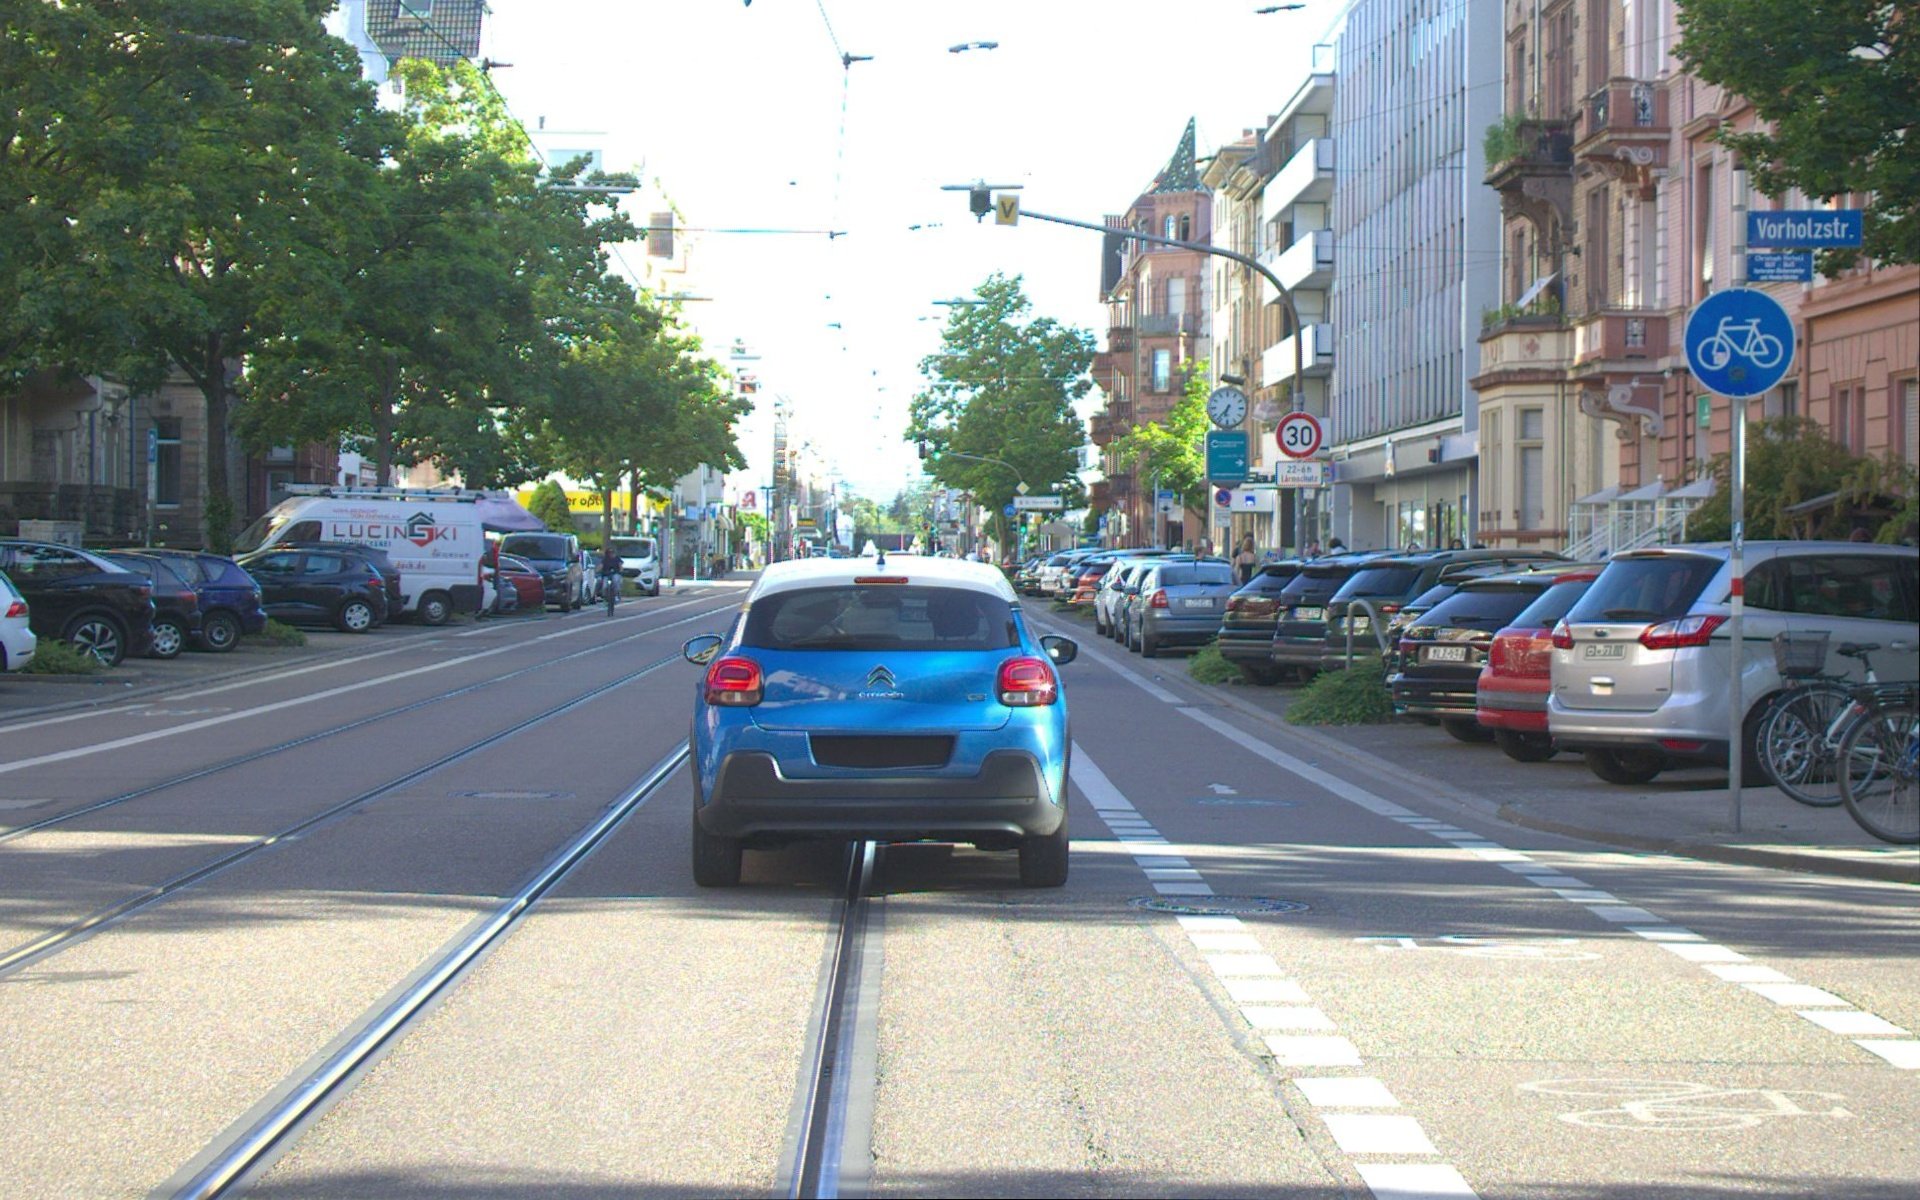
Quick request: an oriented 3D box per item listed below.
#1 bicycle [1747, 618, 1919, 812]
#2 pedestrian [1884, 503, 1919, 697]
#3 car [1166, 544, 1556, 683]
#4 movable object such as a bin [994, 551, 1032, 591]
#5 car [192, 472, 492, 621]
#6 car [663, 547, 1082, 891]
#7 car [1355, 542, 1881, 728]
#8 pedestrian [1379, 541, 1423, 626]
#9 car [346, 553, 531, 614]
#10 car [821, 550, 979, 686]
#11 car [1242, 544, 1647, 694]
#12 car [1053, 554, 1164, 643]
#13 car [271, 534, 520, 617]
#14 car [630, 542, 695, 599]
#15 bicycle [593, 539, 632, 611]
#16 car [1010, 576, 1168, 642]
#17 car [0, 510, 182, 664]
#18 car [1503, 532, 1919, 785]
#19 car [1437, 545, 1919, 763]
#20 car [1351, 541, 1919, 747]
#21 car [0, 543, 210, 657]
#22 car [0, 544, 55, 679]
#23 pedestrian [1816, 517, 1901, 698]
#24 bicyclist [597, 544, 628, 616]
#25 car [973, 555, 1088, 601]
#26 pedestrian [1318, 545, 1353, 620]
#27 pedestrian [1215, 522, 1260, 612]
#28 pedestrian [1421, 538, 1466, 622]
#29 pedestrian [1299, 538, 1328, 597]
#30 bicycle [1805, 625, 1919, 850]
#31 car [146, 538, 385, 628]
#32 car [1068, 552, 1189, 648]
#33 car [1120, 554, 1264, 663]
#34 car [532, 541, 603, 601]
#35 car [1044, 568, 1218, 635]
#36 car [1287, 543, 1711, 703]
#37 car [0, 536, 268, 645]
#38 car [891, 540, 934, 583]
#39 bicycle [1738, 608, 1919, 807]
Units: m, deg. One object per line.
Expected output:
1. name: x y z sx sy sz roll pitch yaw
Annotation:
1. bicycle: 5.334 0.664 19.690 1.556 1.075 0.307 1 0 6
2. pedestrian: 8.976 0.002 31.917 0.518 1.772 0.863 1 0 -1
3. car: 4.904 0.170 42.058 4.302 1.590 1.983 1 0 -25
4. movable object such as a bin: 2.049 -1.126 132.398 1.394 1.478 1.655 1 0 -1
5. car: -11.954 -1.013 66.619 5.370 2.739 1.806 1 0 -30
6. car: -0.406 0.494 16.524 1.762 1.436 3.557 1 0 -1
7. car: 6.029 0.324 31.494 4.317 1.590 2.046 1 0 -25
8. pedestrian: 8.451 -0.314 65.908 0.712 1.601 0.654 -2 0 -1
9. car: -11.679 -0.365 77.067 3.796 1.261 1.516 1 0 -26
10. car: -0.733 0.200 43.484 1.873 1.590 4.000 1 0 0
11. car: 5.459 0.213 38.769 3.986 1.590 2.088 1 0 -25
12. car: 2.786 -0.049 65.340 1.873 1.590 4.000 1 0 0
13. car: -11.651 -0.502 71.096 4.755 1.612 1.712 1 1 -33
14. car: -10.013 -0.988 115.916 1.831 1.841 4.214 1 0 -1
15. bicycle: -8.204 -0.592 81.208 0.680 1.673 2.097 1 0 -1
16. car: 3.204 0.232 85.259 3.441 1.550 1.824 1 1 -32
17. car: -11.718 -0.174 40.910 4.352 1.777 1.996 1 1 -33
18. car: 6.055 0.390 23.354 4.350 1.590 1.854 1 0 -25
19. car: 5.839 0.403 25.968 3.986 1.531 1.919 1 0 -25
20. car: 5.715 0.366 28.516 4.433 1.590 2.089 1 0 -25
21. car: -12.419 -0.018 46.585 3.987 1.484 1.806 1 1 -33
22. car: -11.765 0.080 36.572 3.831 1.425 1.766 1 0 -26
23. pedestrian: 8.349 0.065 31.957 0.518 1.643 0.863 1 0 -1
24. bicyclist: -8.218 -0.467 81.401 0.634 1.676 0.727 1 0 -1
25. car: 2.516 -0.778 122.137 3.653 1.529 1.789 1 0 -20
26. pedestrian: 8.849 -0.405 81.075 0.692 1.750 0.678 1 0 -1
27. pedestrian: 5.005 -0.602 62.013 0.712 1.601 0.654 1 0 -1
28. pedestrian: 9.294 -0.386 66.086 0.712 1.601 0.654 1 0 -1
29. pedestrian: 9.598 -0.888 93.339 0.692 1.582 0.678 1 0 -1
30. bicycle: 5.160 0.711 17.813 1.396 1.123 0.551 1 0 -16
31. car: -12.358 -0.304 61.118 3.985 1.484 1.807 1 0 -17
32. car: 2.950 -0.016 60.935 1.873 1.590 4.000 1 0 0
33. car: 3.593 0.103 54.025 1.873 1.590 4.719 1 0 0
34. car: -11.094 -0.824 97.358 1.747 1.612 4.411 1 0 -4
35. car: 4.113 0.031 82.655 3.718 1.515 1.968 1 1 -33
36. car: 5.701 0.240 36.372 3.986 1.590 1.960 1 0 -25
37. car: -12.220 -0.138 49.658 3.986 1.484 1.806 1 0 -28
38. car: -1.623 -1.319 118.655 1.423 1.427 3.139 1 0 0
39. bicycle: 5.361 0.631 20.033 1.560 1.123 0.294 1 0 6
